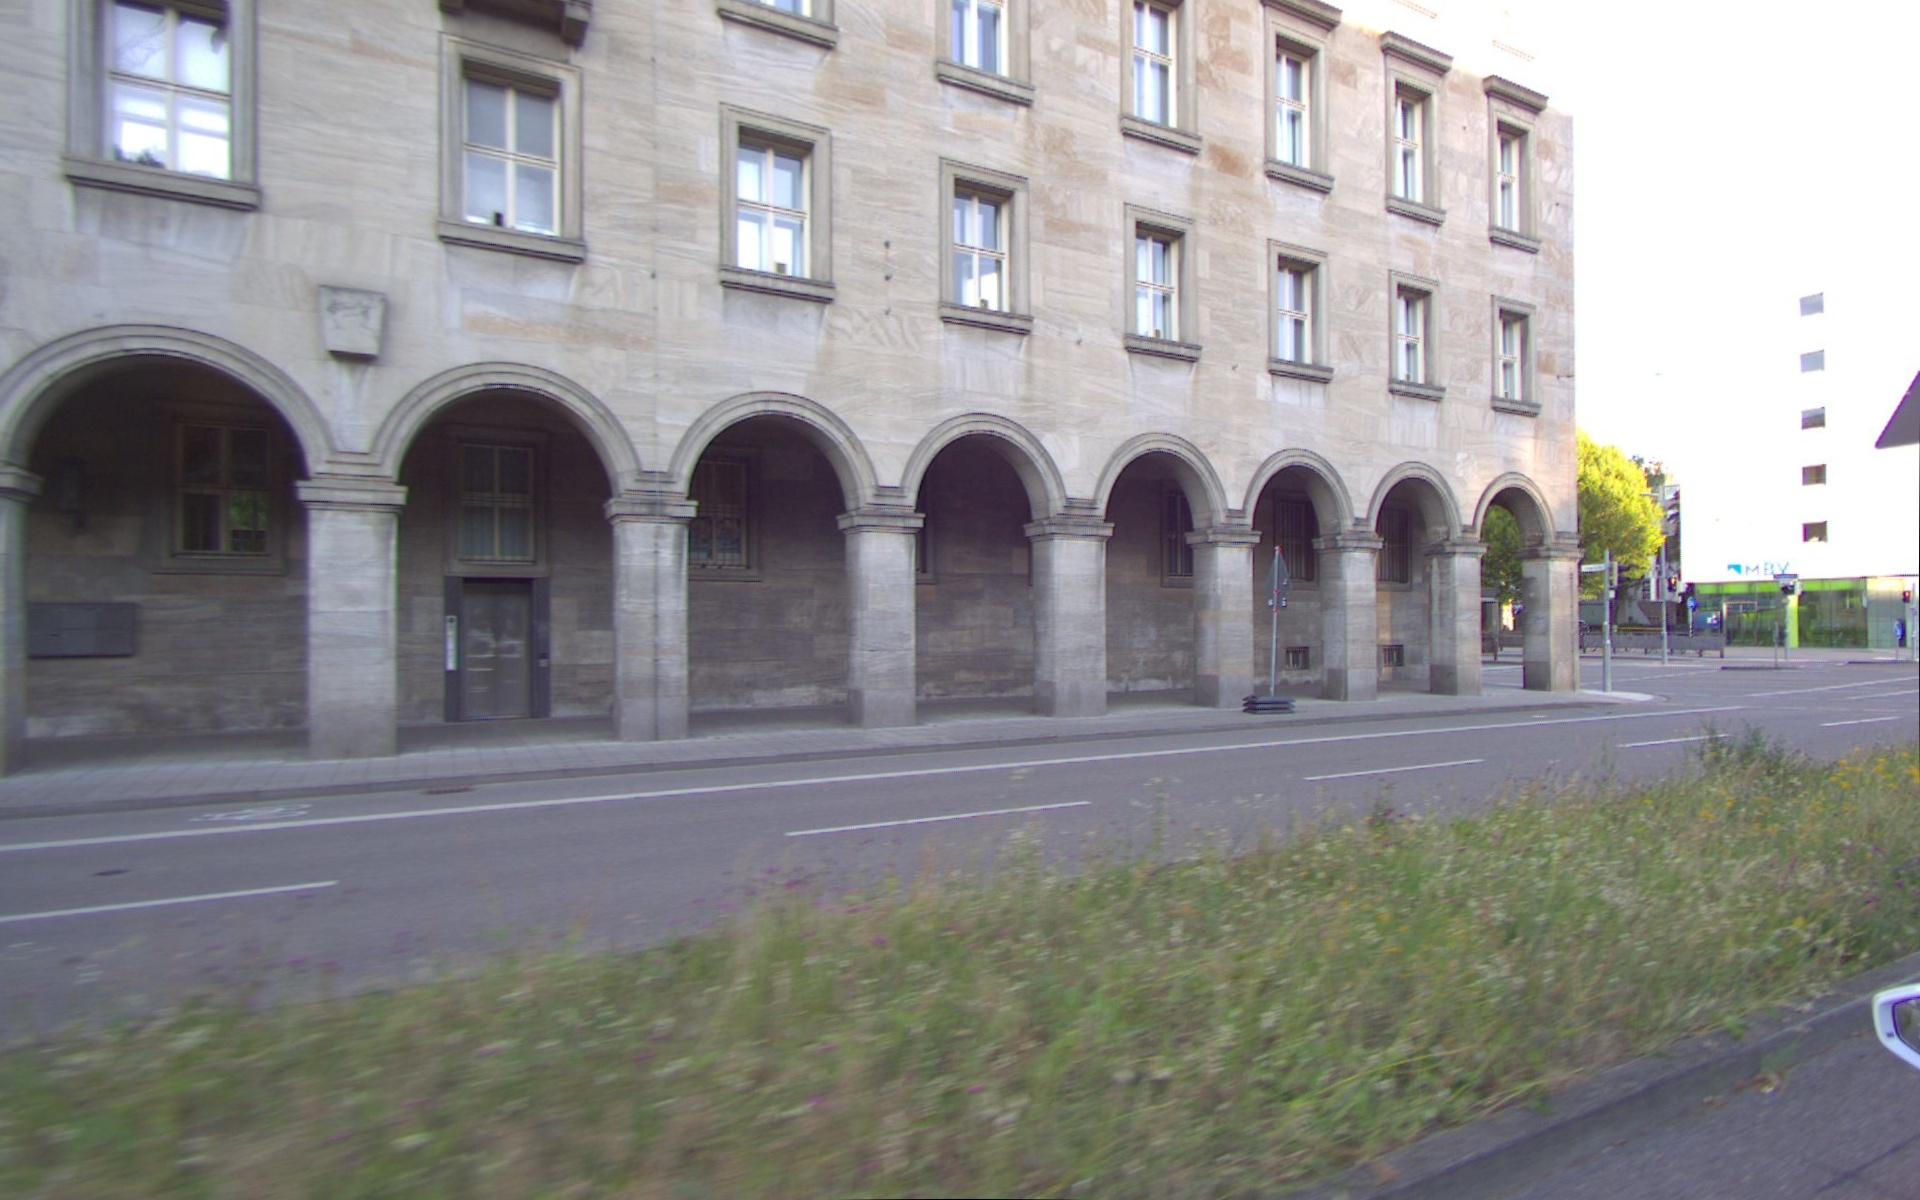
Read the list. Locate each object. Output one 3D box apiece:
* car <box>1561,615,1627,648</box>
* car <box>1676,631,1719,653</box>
[{"bbox_3d":[40.625,2.006,64.345,3.952,2.040,1.985,1,-2,-30],"label":"car"},{"bbox_3d":[38.438,2.189,52.354,2.491,1.088,0.850,1,-2,-30],"label":"car"}]
